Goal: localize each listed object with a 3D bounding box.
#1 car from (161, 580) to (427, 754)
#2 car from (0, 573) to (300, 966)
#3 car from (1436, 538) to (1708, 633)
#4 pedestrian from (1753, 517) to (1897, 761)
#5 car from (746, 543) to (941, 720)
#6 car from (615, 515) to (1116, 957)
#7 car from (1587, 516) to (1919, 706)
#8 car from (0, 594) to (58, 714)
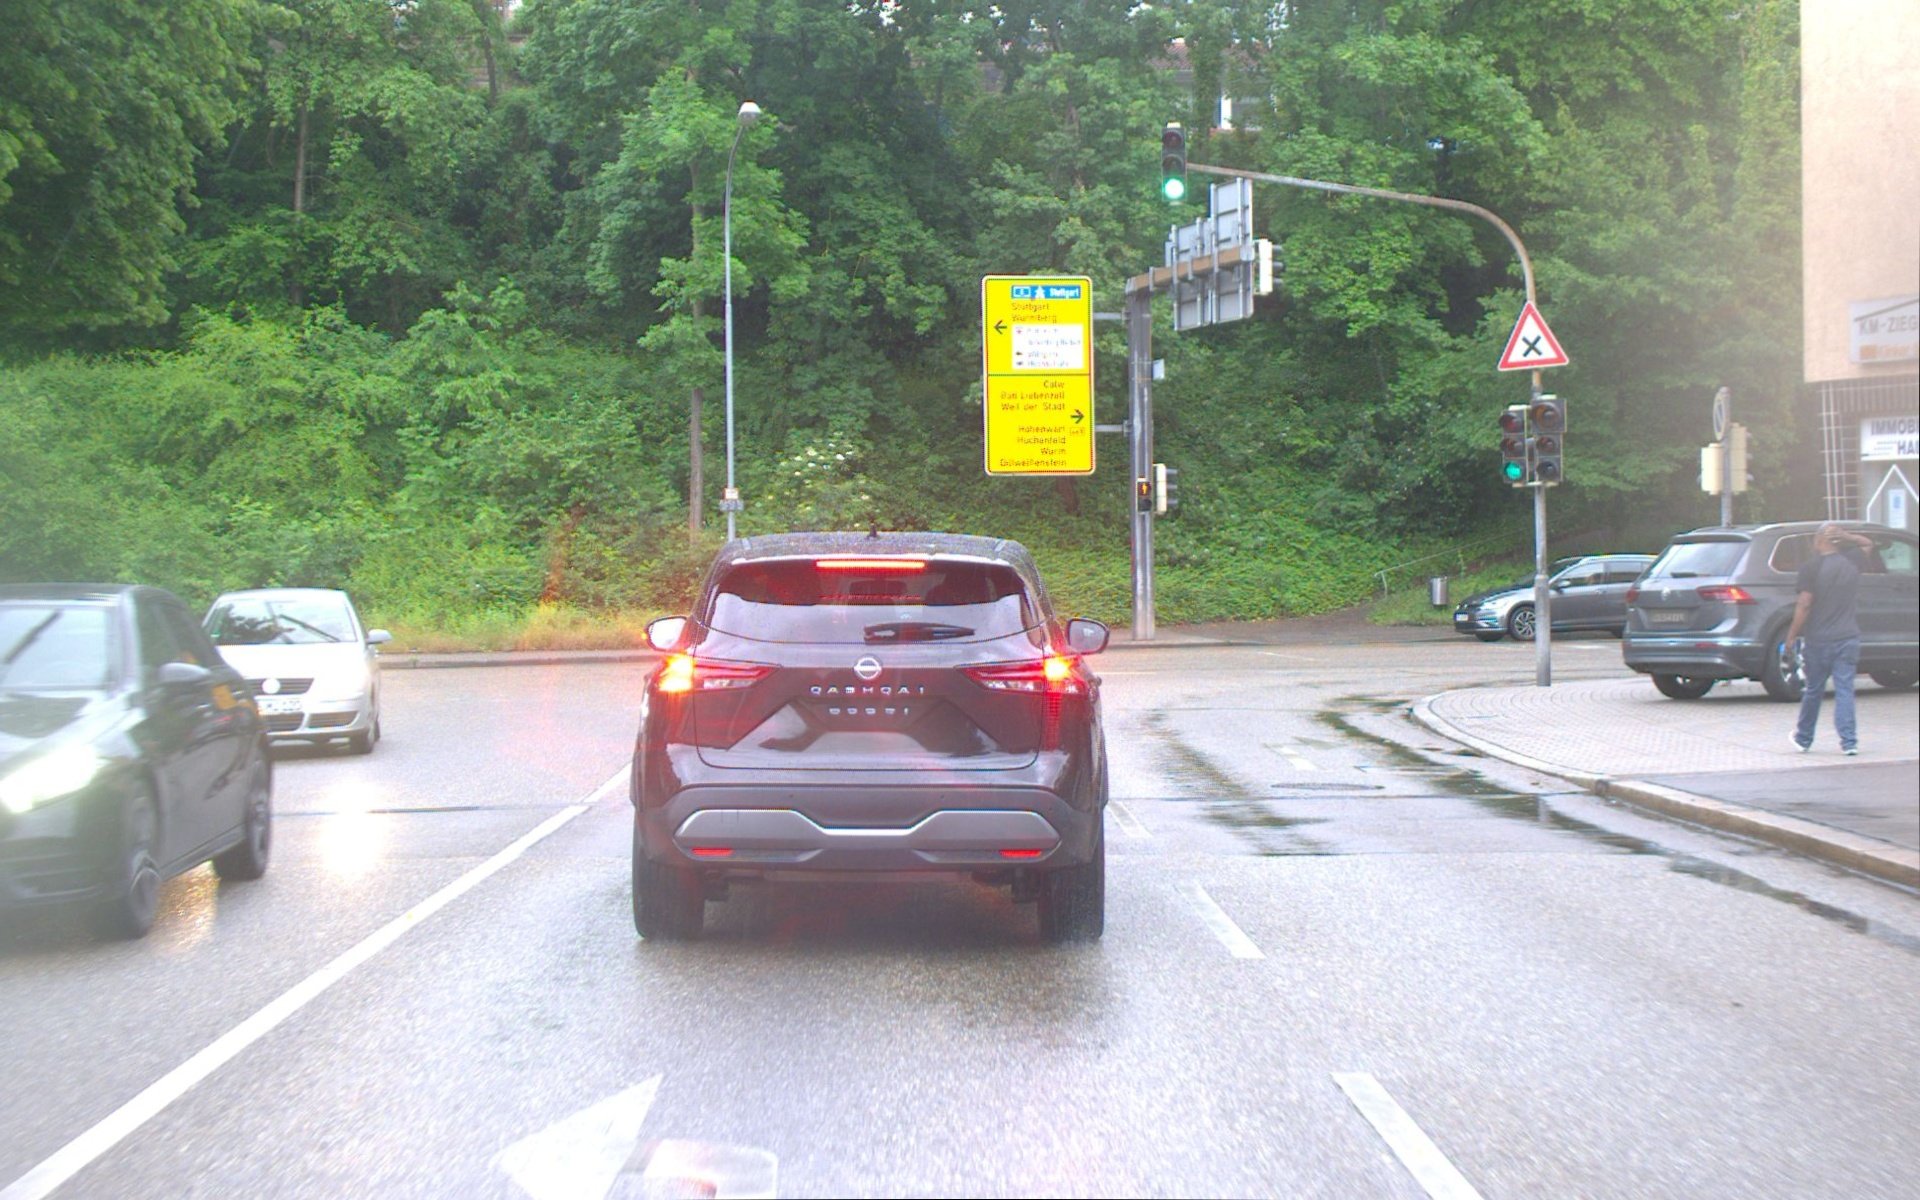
[{"bbox_3d":[-5.857,0.549,30.590,1.626,1.415,3.686,-1,0,0],"label":"car"},{"bbox_3d":[-4.099,0.642,14.871,1.709,1.411,4.094,-2,1,-1],"label":"car"},{"bbox_3d":[10.826,-0.268,60.934,4.323,1.497,1.884,-2,1,-12],"label":"car"},{"bbox_3d":[6.155,0.265,24.492,0.761,1.671,0.781,-3,2,-1],"label":"pedestrian"},{"bbox_3d":[-1.132,0.267,34.381,1.811,1.597,4.000,1,1,-1],"label":"car"},{"bbox_3d":[-0.376,0.483,14.532,1.811,1.597,4.000,0,0,-1],"label":"car"},{"bbox_3d":[8.304,0.050,32.504,4.366,1.643,1.884,-2,1,-26],"label":"car"},{"bbox_3d":[-13.645,0.711,43.007,4.419,1.454,1.732,-1,0,24],"label":"car"}]
